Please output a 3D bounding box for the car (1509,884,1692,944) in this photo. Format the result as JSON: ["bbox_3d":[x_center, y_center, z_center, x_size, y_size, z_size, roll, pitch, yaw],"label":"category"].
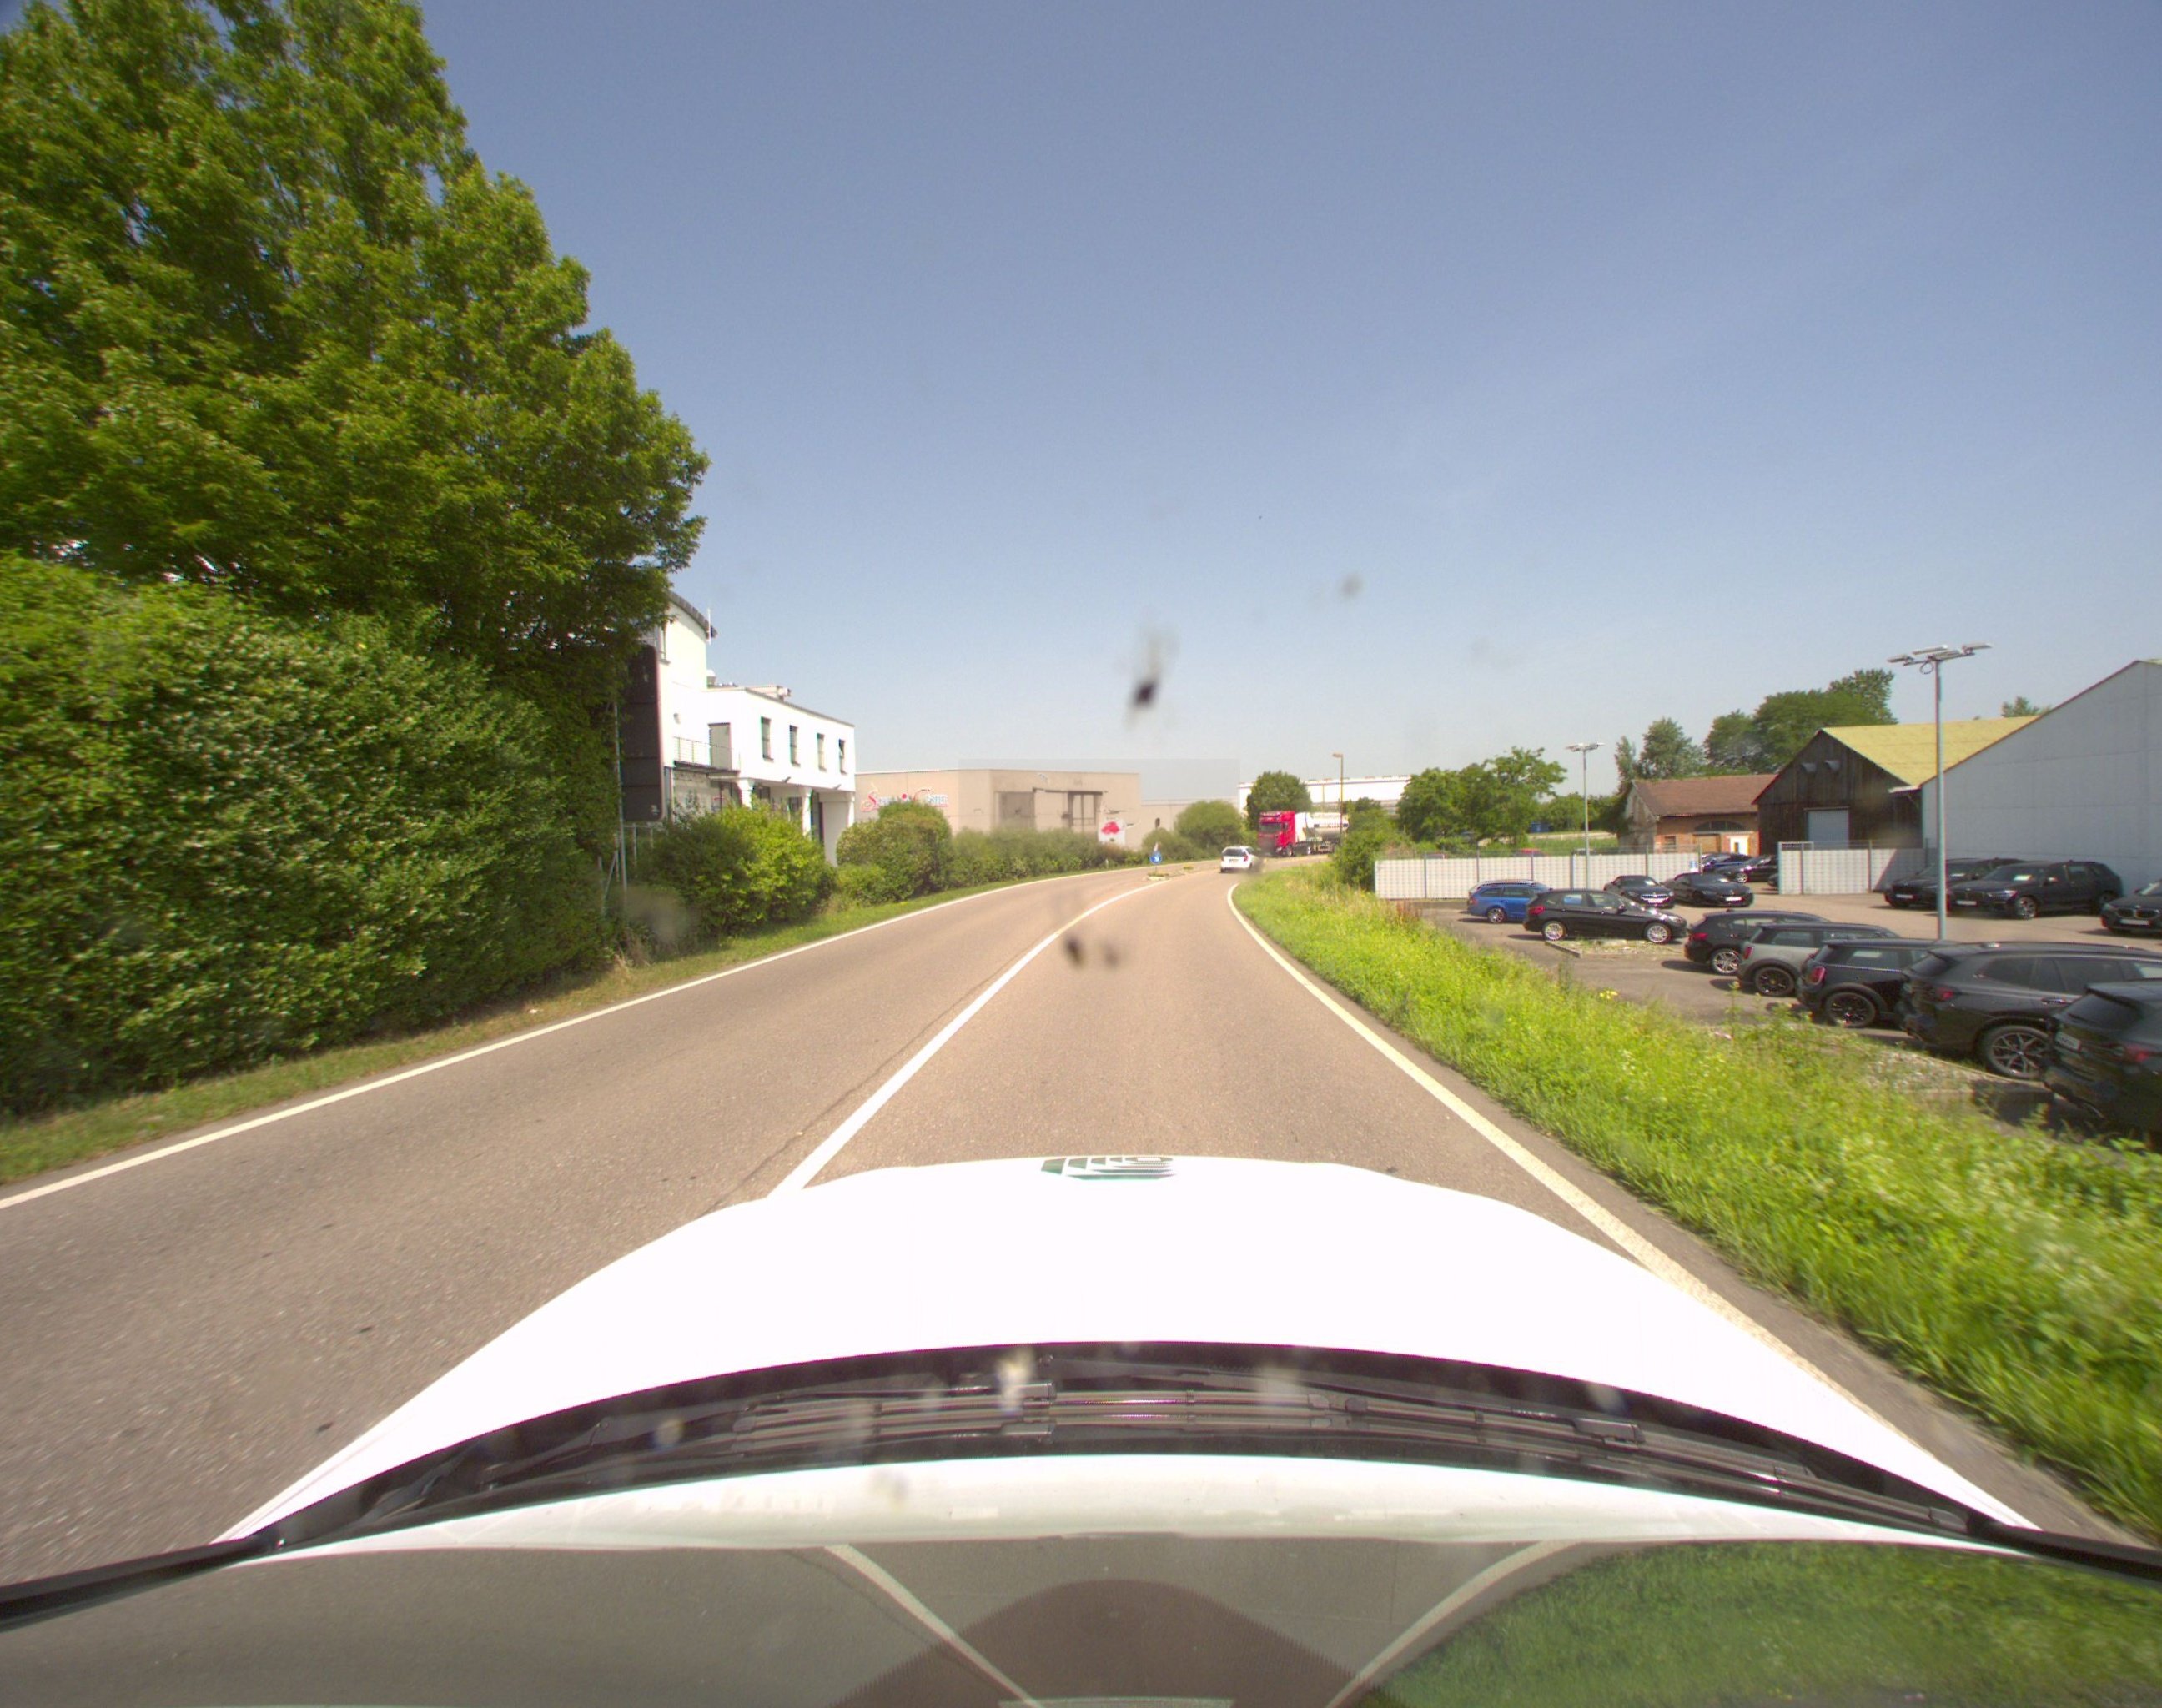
[{"bbox_3d":[15.797,1.777,25.076,4.584,1.605,1.868,-1,0,29],"label":"car"}]

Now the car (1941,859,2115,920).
[{"bbox_3d":[31.690,1.135,27.310,4.324,1.804,1.905,-1,1,-10],"label":"car"}]

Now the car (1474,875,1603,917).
[{"bbox_3d":[18.948,1.688,33.851,4.319,1.502,1.854,0,2,44],"label":"car"}]

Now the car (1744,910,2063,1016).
[{"bbox_3d":[15.442,1.961,15.674,4.096,1.493,1.843,0,1,38],"label":"car"}]

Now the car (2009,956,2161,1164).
[{"bbox_3d":[12.389,2.083,7.606,4.583,1.700,1.869,-1,2,34],"label":"car"}]

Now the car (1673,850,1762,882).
[{"bbox_3d":[36.705,0.692,47.080,3.706,1.750,1.682,-1,0,20],"label":"car"}]

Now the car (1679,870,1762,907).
[{"bbox_3d":[27.246,1.410,34.834,1.975,1.398,4.023,-1,0,26],"label":"car"}]

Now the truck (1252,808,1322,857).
[{"bbox_3d":[18.174,-1.811,71.646,6.760,4.030,2.855,0,0,-45],"label":"truck"}]

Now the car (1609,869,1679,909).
[{"bbox_3d":[24.476,1.483,35.562,1.833,1.534,4.671,-1,0,26],"label":"car"}]

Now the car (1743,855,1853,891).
[{"bbox_3d":[35.231,0.928,40.143,3.708,1.750,1.681,-1,0,18],"label":"car"}]

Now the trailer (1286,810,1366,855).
[{"bbox_3d":[22.950,-1.918,75.942,8.741,4.030,2.855,0,0,-40],"label":"trailer"}]

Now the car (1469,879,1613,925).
[{"bbox_3d":[17.299,1.755,30.725,4.583,1.498,1.868,-1,2,32],"label":"car"}]

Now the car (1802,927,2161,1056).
[{"bbox_3d":[14.432,2.089,13.117,4.096,1.442,1.787,0,2,38],"label":"car"}]

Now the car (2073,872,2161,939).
[{"bbox_3d":[30.353,1.364,22.494,4.324,1.576,1.905,-1,1,-10],"label":"car"}]

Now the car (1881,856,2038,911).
[{"bbox_3d":[32.593,1.050,30.253,4.324,1.804,1.992,-1,1,-10],"label":"car"}]

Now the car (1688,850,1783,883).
[{"bbox_3d":[35.518,0.663,44.301,3.706,1.750,1.682,-1,0,20],"label":"car"}]

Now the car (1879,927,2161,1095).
[{"bbox_3d":[13.485,2.011,10.634,4.181,1.700,1.931,0,2,38],"label":"car"}]

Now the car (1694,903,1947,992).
[{"bbox_3d":[16.176,1.963,18.046,3.984,1.442,1.785,0,2,42],"label":"car"}]

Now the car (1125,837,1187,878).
[{"bbox_3d":[3.955,0.190,42.186,1.975,2.014,4.023,-1,0,24],"label":"car"}]

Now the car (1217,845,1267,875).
[{"bbox_3d":[9.682,0.345,48.731,1.765,1.603,3.916,5,1,28],"label":"car"}]
